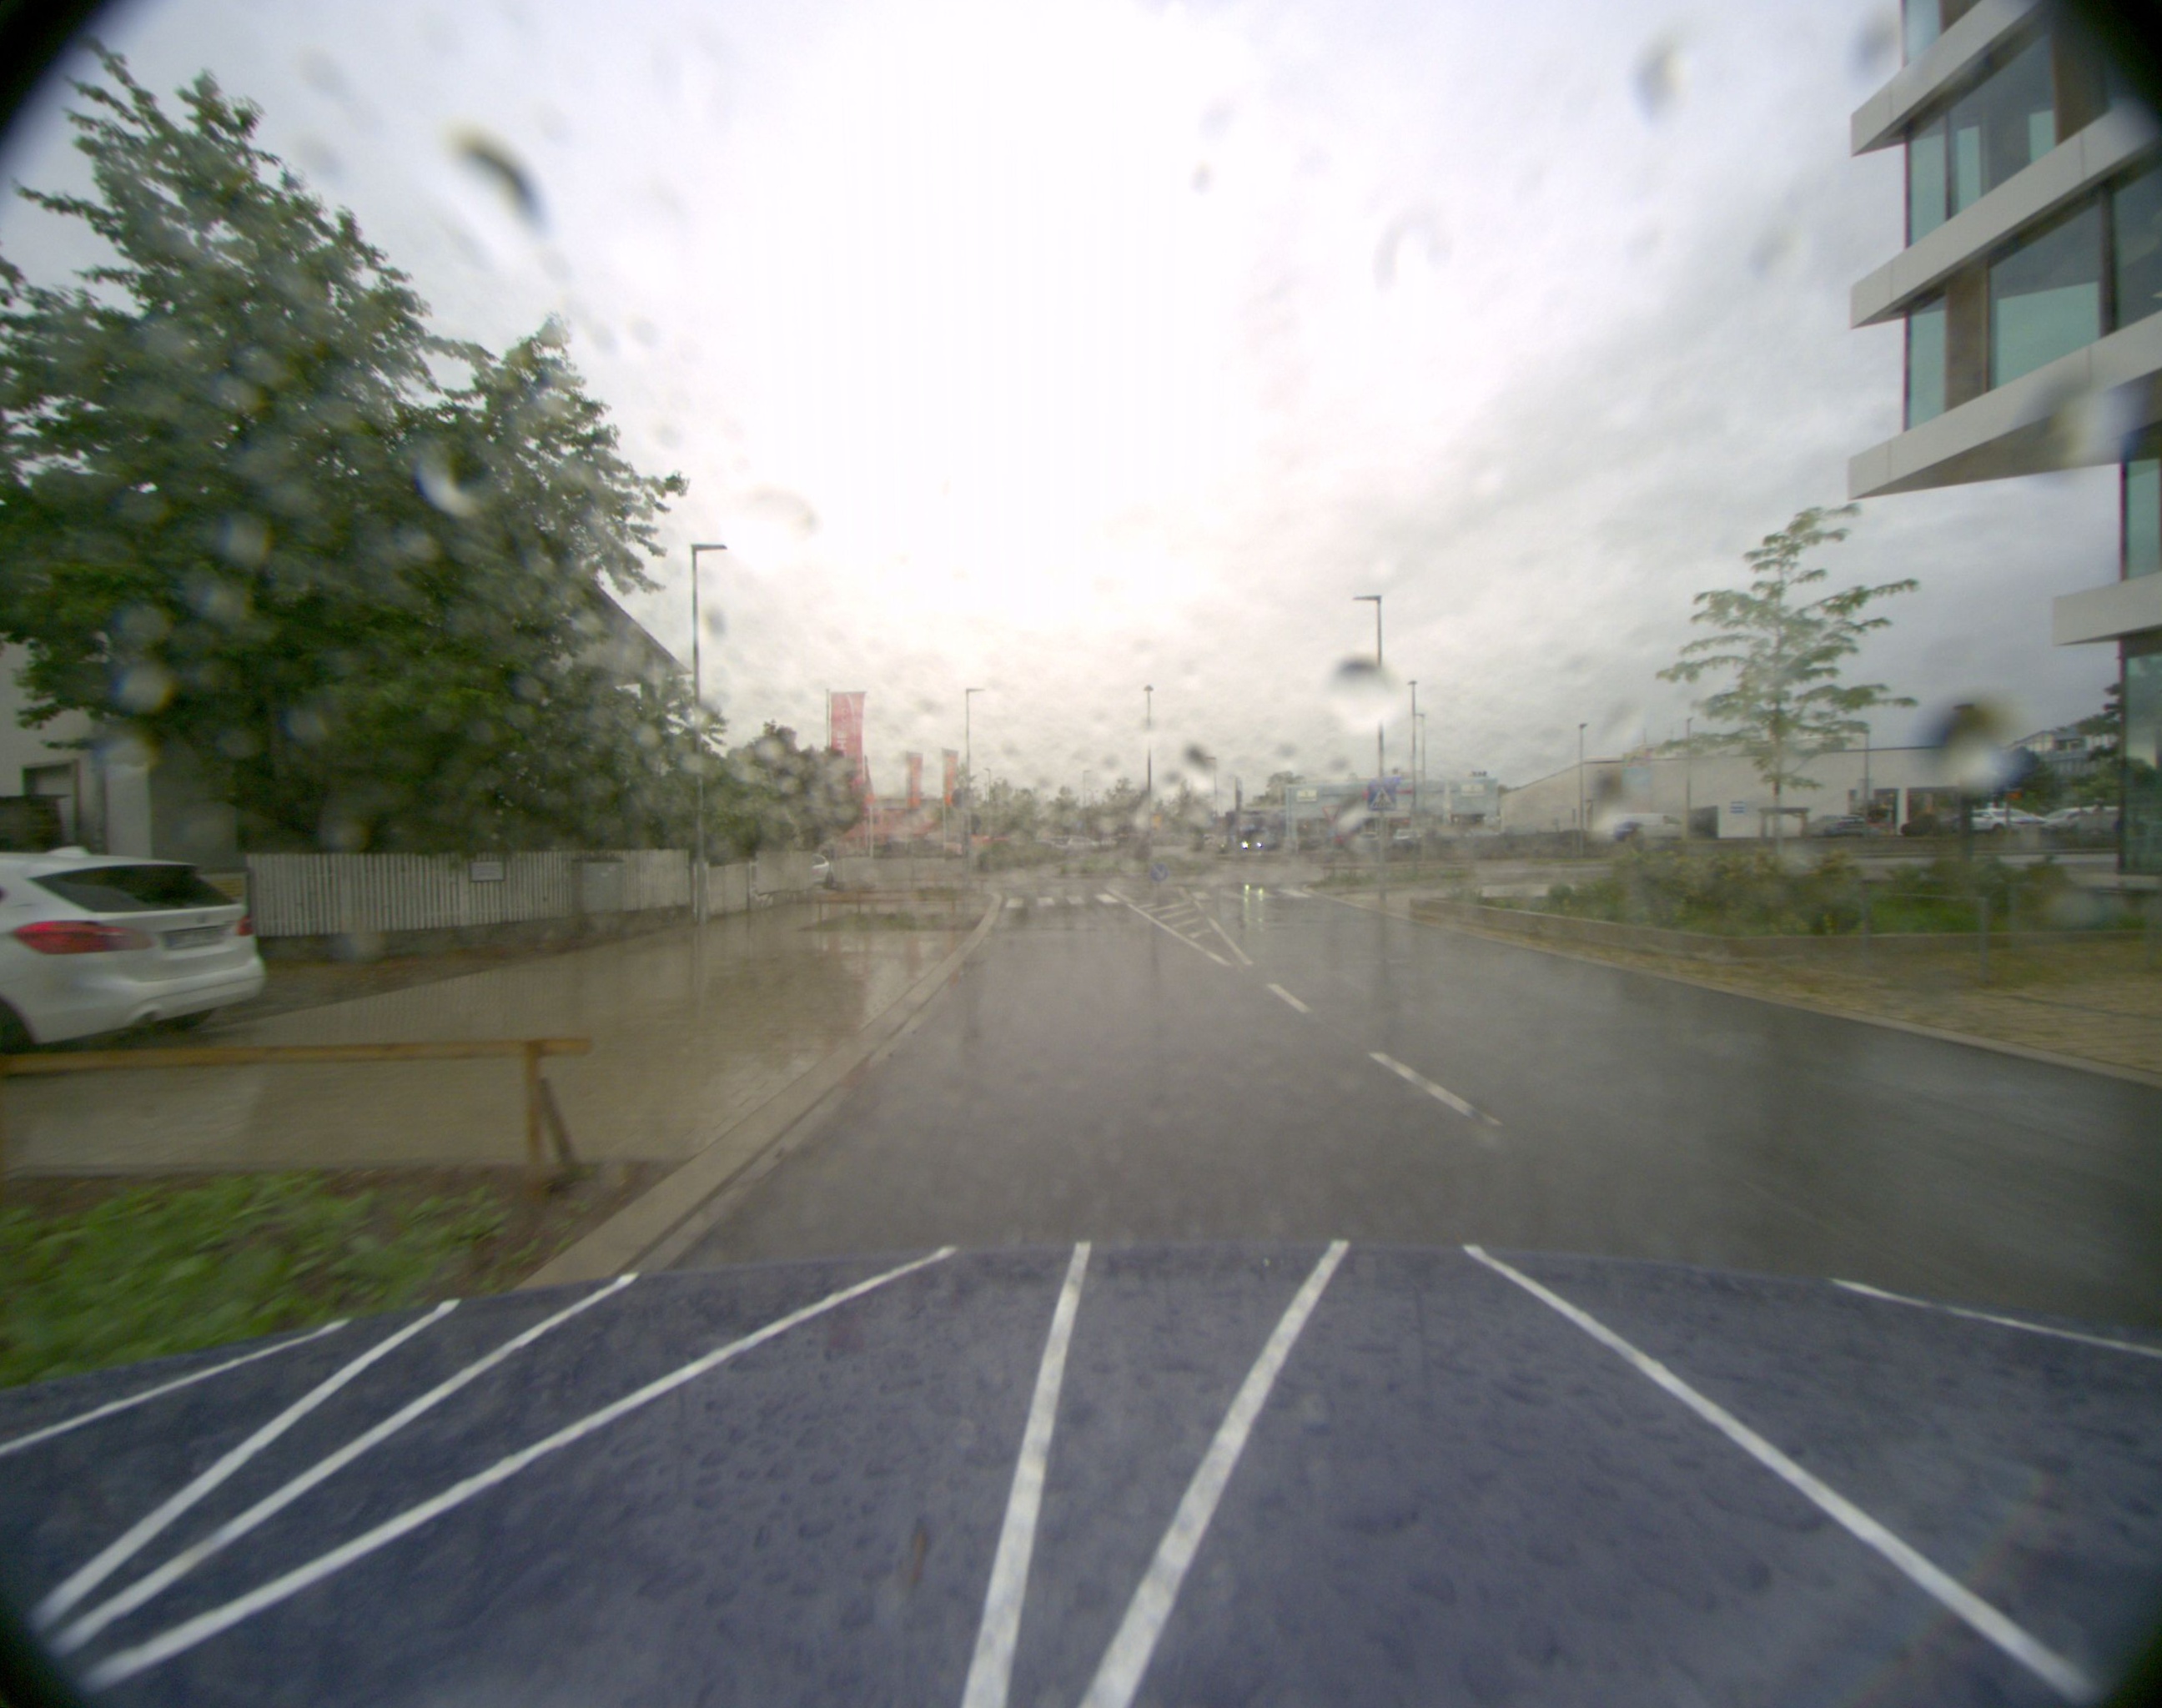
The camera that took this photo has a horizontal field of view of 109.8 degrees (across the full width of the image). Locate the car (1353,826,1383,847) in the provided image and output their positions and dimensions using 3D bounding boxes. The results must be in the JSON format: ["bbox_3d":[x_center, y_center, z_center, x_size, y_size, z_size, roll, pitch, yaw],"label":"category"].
[{"bbox_3d":[21.080,-1.300,55.747,1.884,1.288,4.005,-4,0,22],"label":"car"}]

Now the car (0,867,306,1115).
[{"bbox_3d":[-8.808,0.895,5.406,4.145,1.571,1.997,0,0,-16],"label":"car"}]

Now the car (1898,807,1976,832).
[{"bbox_3d":[57.717,-2.306,51.337,1.790,1.543,4.005,-2,1,20],"label":"car"}]

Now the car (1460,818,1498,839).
[{"bbox_3d":[27.934,-1.792,53.418,1.884,1.288,4.005,-4,0,22],"label":"car"}]

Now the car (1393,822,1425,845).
[{"bbox_3d":[23.821,-1.480,55.328,1.791,1.543,4.005,-2,1,19],"label":"car"}]

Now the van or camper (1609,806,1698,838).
[{"bbox_3d":[38.457,-2.115,51.187,4.372,1.751,1.890,-4,0,22],"label":"van or camper"}]

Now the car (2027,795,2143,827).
[{"bbox_3d":[53.592,-2.251,40.687,1.791,1.543,4.005,-2,1,19],"label":"car"}]

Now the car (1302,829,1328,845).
[{"bbox_3d":[21.342,-1.597,69.260,1.884,1.288,4.005,-4,0,22],"label":"car"}]

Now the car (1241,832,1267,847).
[{"bbox_3d":[18.704,-1.593,81.919,1.917,1.521,4.006,-3,0,24],"label":"car"}]

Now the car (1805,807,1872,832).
[{"bbox_3d":[52.841,-2.377,53.113,1.790,1.543,4.005,-2,1,20],"label":"car"}]

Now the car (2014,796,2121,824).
[{"bbox_3d":[64.904,-2.875,50.079,3.992,1.543,1.796,-2,1,17],"label":"car"}]

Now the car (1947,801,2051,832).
[{"bbox_3d":[50.665,-2.043,42.053,1.848,1.543,4.005,-2,1,19],"label":"car"}]

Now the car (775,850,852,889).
[{"bbox_3d":[-12.326,0.687,35.299,1.845,1.681,4.171,-1,0,4],"label":"car"}]

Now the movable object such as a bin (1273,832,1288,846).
[{"bbox_3d":[19.798,-1.532,75.323,1.212,1.288,1.480,-4,0,22],"label":"movable object such as a bin"}]

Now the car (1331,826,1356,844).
[{"bbox_3d":[23.795,-1.734,68.757,1.884,1.477,4.005,-4,0,22],"label":"car"}]

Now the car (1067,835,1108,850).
[{"bbox_3d":[0.726,-1.258,83.704,3.991,1.434,2.003,-2,0,22],"label":"car"}]

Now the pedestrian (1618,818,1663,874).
[{"bbox_3d":[20.368,-0.288,27.668,0.893,2.002,0.931,-2,1,-6],"label":"pedestrian"}]

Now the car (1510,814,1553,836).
[{"bbox_3d":[30.868,-2.001,52.129,1.884,1.288,4.005,-4,0,22],"label":"car"}]

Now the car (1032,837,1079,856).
[{"bbox_3d":[-2.479,-0.737,74.127,4.096,1.696,2.003,-2,1,26],"label":"car"}]

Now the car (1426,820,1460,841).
[{"bbox_3d":[25.831,-1.651,54.295,1.884,1.288,4.005,-4,0,22],"label":"car"}]
